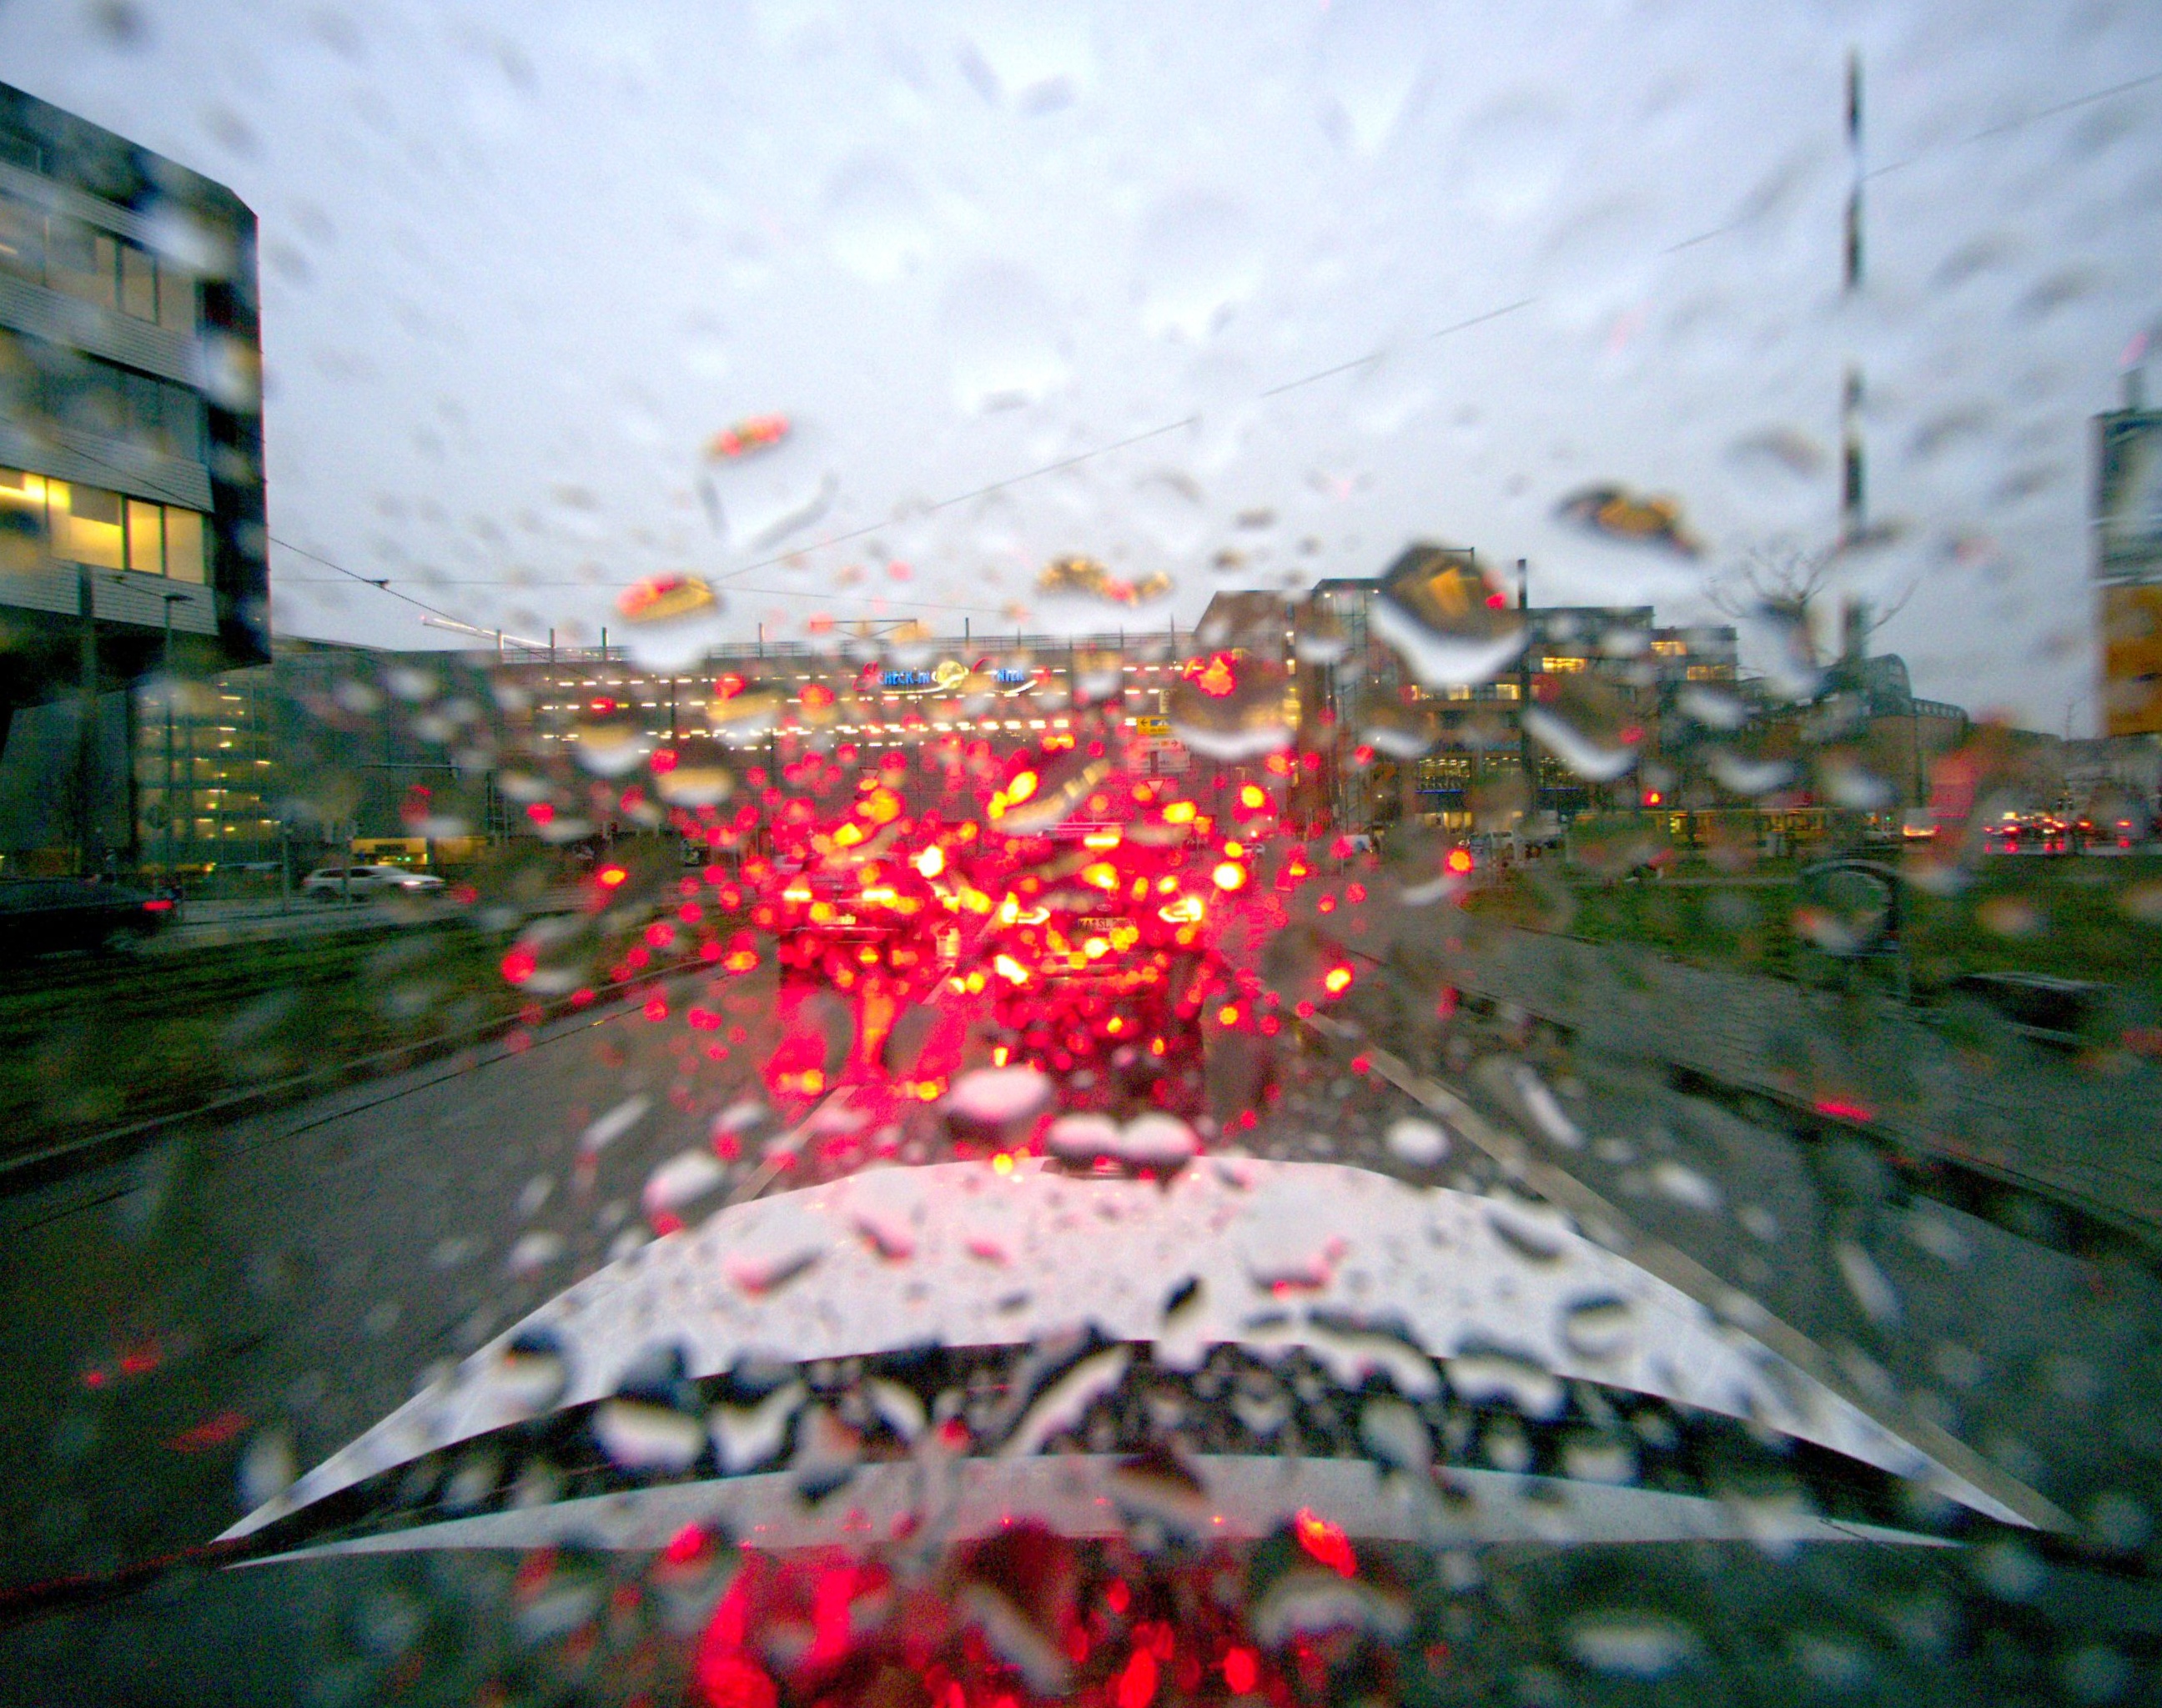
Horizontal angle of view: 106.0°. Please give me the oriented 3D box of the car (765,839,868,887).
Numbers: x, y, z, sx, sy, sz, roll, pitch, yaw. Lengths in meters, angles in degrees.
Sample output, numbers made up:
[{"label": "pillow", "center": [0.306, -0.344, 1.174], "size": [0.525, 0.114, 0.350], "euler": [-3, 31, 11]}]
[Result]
[{"label": "car", "center": [-11.697, 0.350, 36.271], "size": [3.988, 1.874, 1.993], "euler": [-3, 1, -11]}]

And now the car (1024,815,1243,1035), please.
[{"label": "car", "center": [0.383, 0.555, 8.600], "size": [1.730, 1.738, 4.245], "euler": [1, 0, -1]}]

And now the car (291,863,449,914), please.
[{"label": "car", "center": [-29.755, 1.412, 34.227], "size": [4.667, 1.850, 1.826], "euler": [-2, -1, -9]}]

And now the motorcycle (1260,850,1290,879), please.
[{"label": "motorcycle", "center": [6.939, 0.358, 29.228], "size": [0.848, 0.971, 1.584], "euler": [-2, 0, 7]}]

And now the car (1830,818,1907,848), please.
[{"label": "car", "center": [55.844, -1.469, 57.768], "size": [3.986, 2.013, 1.994], "euler": [0, 0, -9]}]

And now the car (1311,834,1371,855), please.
[{"label": "car", "center": [21.905, -0.763, 68.658], "size": [4.414, 1.595, 1.796], "euler": [-2, 0, -6]}]

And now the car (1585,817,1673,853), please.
[{"label": "car", "center": [32.364, -1.121, 48.137], "size": [4.363, 2.013, 1.990], "euler": [0, 0, -16]}]

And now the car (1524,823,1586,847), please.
[{"label": "car", "center": [43.684, -1.756, 75.130], "size": [4.832, 2.000, 1.796], "euler": [-2, 0, -6]}]

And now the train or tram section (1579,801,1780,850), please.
[{"label": "train or tram section", "center": [45.684, -2.196, 62.043], "size": [16.630, 3.260, 2.325], "euler": [-2, 0, -15]}]

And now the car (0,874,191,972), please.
[{"label": "car", "center": [-17.549, 1.105, 13.089], "size": [1.653, 1.400, 4.518], "euler": [1, 1, -3]}]

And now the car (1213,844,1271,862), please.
[{"label": "car", "center": [13.440, -0.083, 68.021], "size": [4.414, 1.390, 1.796], "euler": [-2, 0, -6]}]

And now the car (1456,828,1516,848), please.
[{"label": "car", "center": [35.297, -1.365, 70.961], "size": [4.426, 1.534, 1.796], "euler": [-2, 0, -6]}]

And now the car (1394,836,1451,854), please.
[{"label": "car", "center": [29.265, -0.785, 69.826], "size": [4.210, 1.390, 1.796], "euler": [-2, 0, -6]}]

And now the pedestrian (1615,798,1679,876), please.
[{"label": "pedestrian", "center": [14.284, -0.422, 20.574], "size": [1.160, 1.924, 0.903], "euler": [1, 0, 24]}]

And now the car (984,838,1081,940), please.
[{"label": "car", "center": [-0.922, 0.591, 15.634], "size": [1.632, 1.697, 3.666], "euler": [-1, 0, -3]}]

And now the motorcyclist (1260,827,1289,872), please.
[{"label": "motorcyclist", "center": [6.917, -0.163, 29.148], "size": [0.864, 1.534, 1.110], "euler": [-2, 0, 7]}]

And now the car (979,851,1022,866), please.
[{"label": "car", "center": [-7.137, 0.374, 72.466], "size": [3.752, 1.165, 1.678], "euler": [-2, 0, -5]}]

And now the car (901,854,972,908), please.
[{"label": "car", "center": [-3.719, 0.642, 21.502], "size": [1.539, 1.251, 4.058], "euler": [-1, 0, -6]}]

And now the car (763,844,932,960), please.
[{"label": "car", "center": [-3.641, 0.668, 13.424], "size": [1.749, 1.574, 3.996], "euler": [-2, 0, -3]}]

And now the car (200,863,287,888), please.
[{"label": "car", "center": [-70.188, 1.804, 68.294], "size": [5.069, 1.962, 1.888], "euler": [1, 0, -5]}]
